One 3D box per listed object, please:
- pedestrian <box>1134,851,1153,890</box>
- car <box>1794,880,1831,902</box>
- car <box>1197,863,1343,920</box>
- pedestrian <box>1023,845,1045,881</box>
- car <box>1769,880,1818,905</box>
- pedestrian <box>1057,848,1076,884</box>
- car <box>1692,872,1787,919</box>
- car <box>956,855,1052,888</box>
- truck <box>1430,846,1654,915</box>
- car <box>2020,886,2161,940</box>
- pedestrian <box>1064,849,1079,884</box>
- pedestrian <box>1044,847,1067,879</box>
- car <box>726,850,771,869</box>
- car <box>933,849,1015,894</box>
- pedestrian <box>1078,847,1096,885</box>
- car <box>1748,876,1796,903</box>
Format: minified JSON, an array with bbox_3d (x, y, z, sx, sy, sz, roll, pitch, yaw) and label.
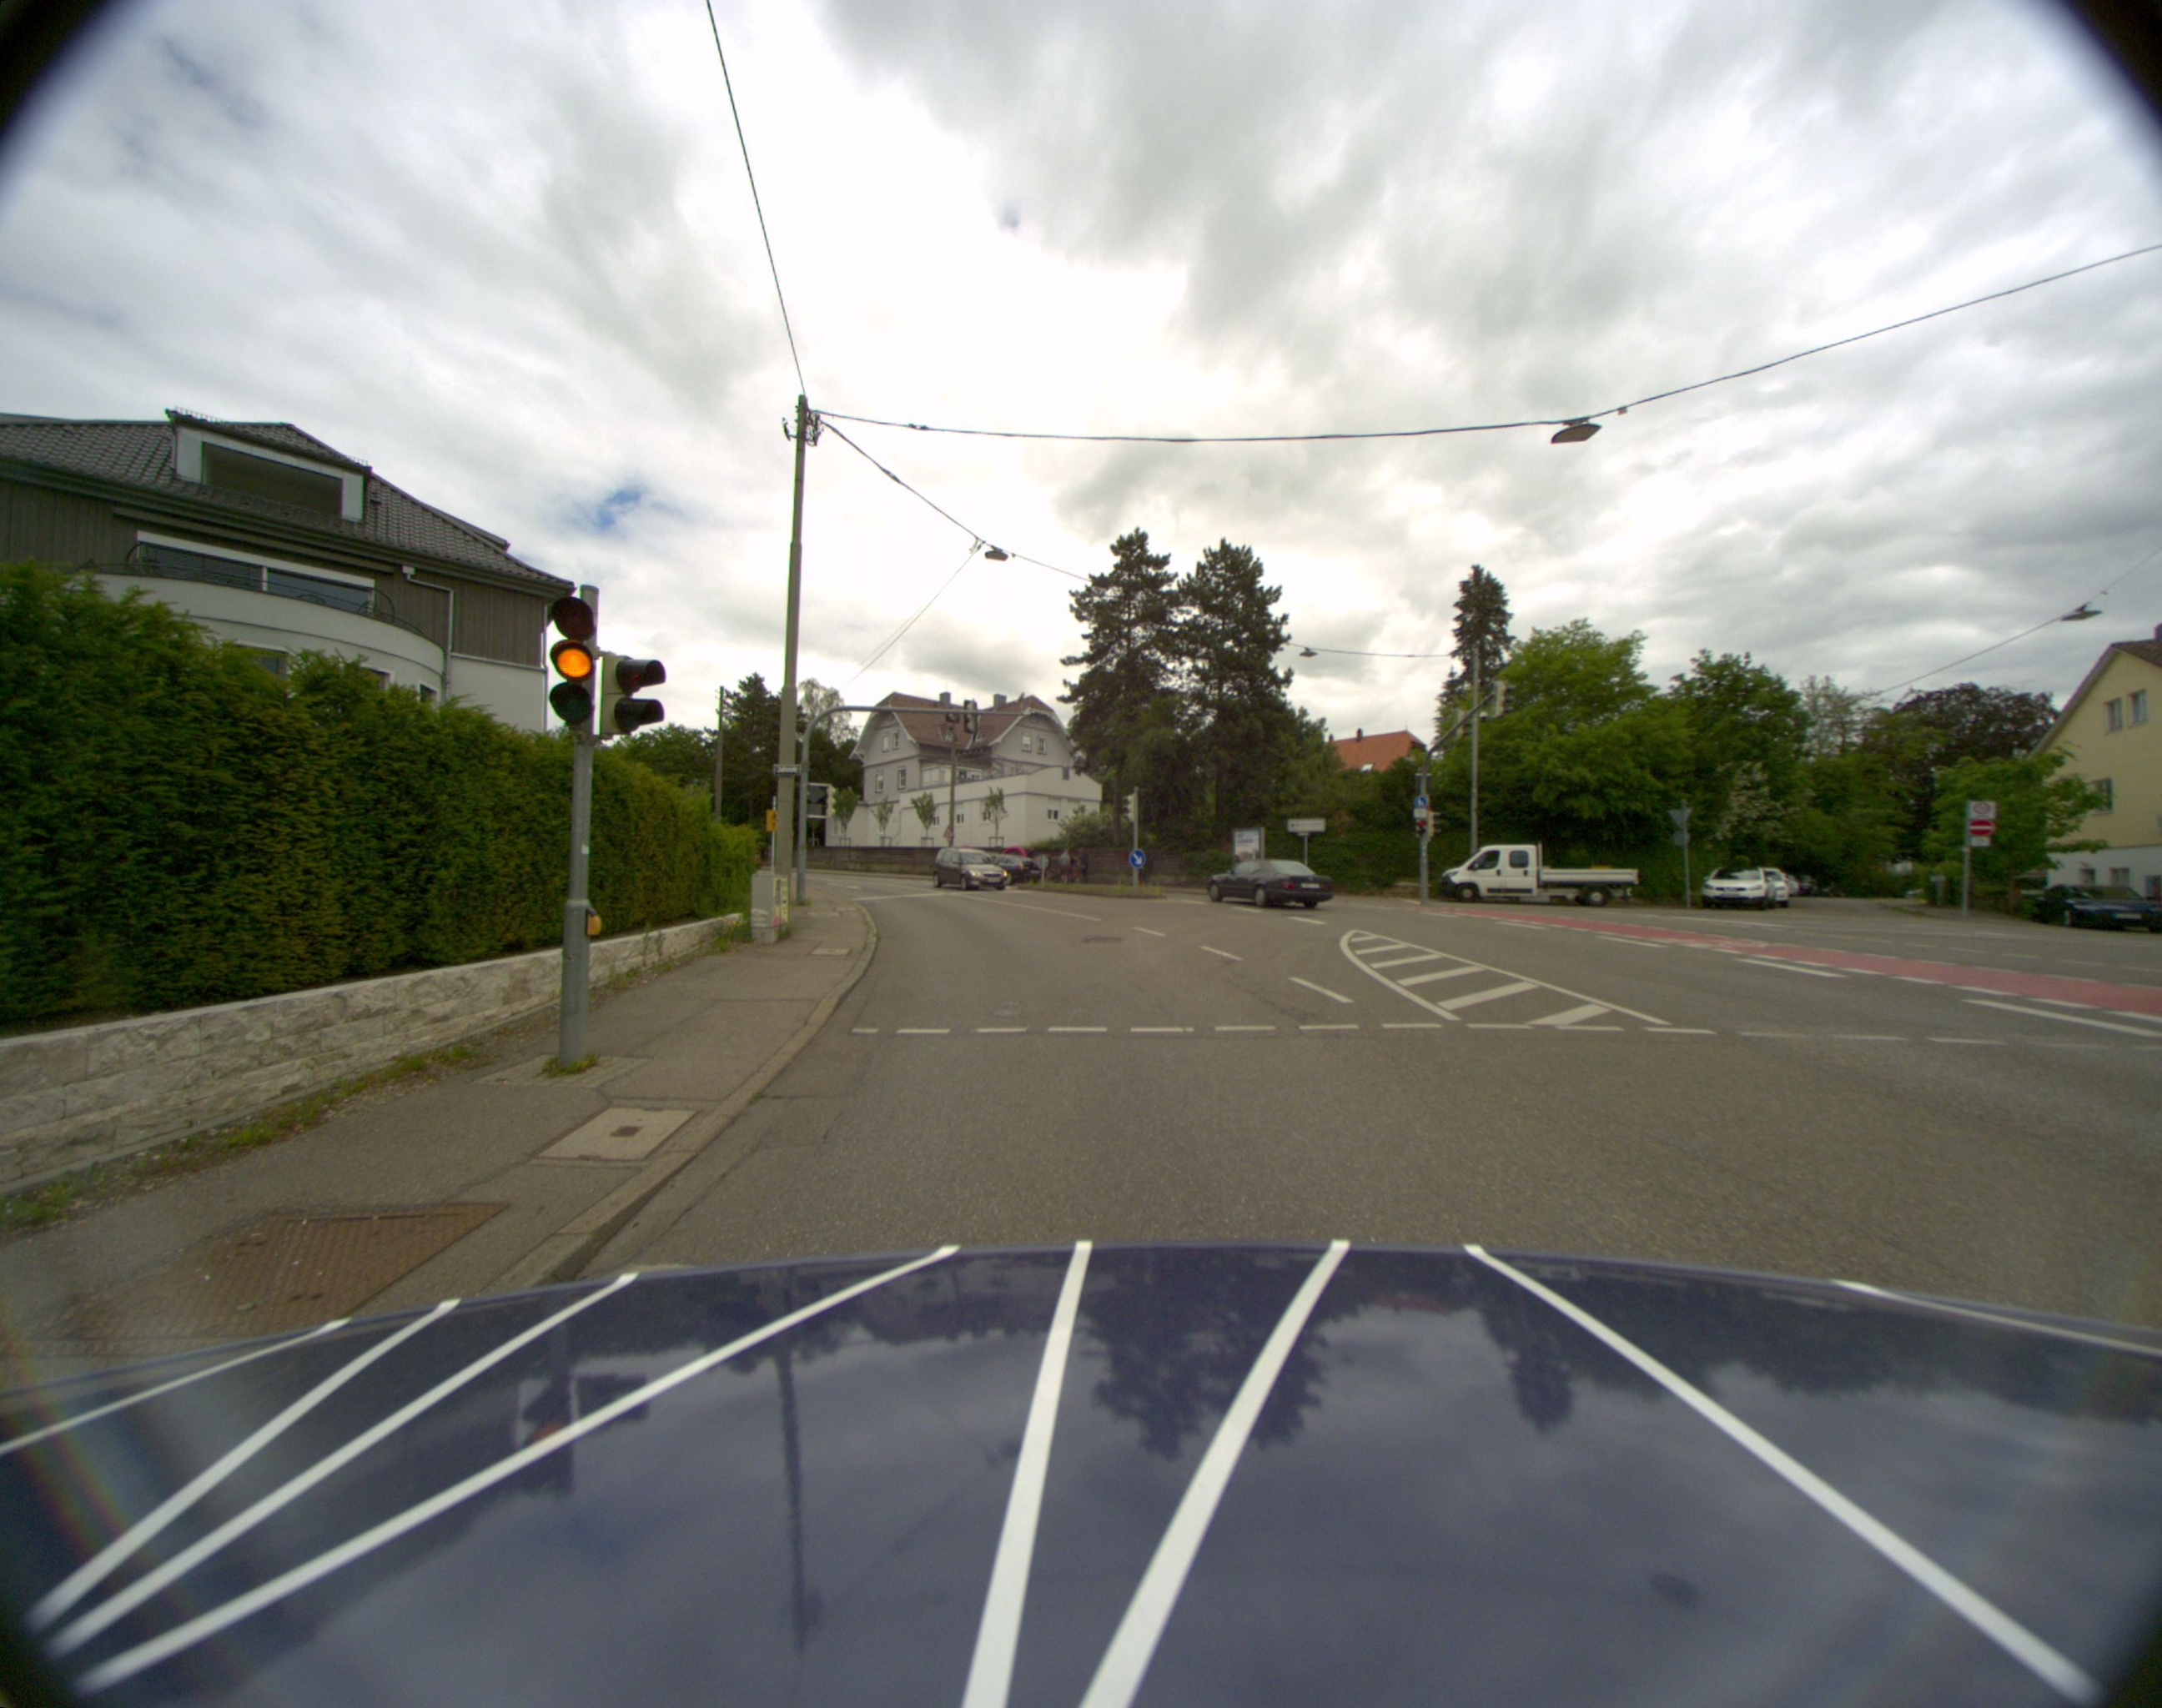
[{"bbox_3d":[2.997,0.779,36.468,0.611,1.824,0.680,2,0,39],"label":"pedestrian"},{"bbox_3d":[57.782,2.909,59.969,3.739,1.577,1.867,1,0,-43],"label":"car"},{"bbox_3d":[5.279,1.012,21.987,1.854,1.320,4.860,1,0,-17],"label":"car"},{"bbox_3d":[-2.444,0.467,39.377,0.686,1.803,0.882,2,1,41],"label":"pedestrian"},{"bbox_3d":[50.515,2.707,53.845,4.009,1.607,1.994,1,0,-40],"label":"car"},{"bbox_3d":[-0.718,0.614,38.047,0.664,1.777,0.614,2,0,41],"label":"pedestrian"},{"bbox_3d":[24.762,1.513,28.554,4.009,1.603,1.994,2,0,-39],"label":"car"},{"bbox_3d":[-3.739,0.767,35.996,2.004,1.414,5.043,1,0,-41],"label":"car"},{"bbox_3d":[16.530,0.883,27.859,6.700,2.176,2.534,2,1,23],"label":"truck"},{"bbox_3d":[32.617,1.847,24.617,1.875,1.440,4.009,2,0,38],"label":"car"},{"bbox_3d":[-0.464,0.635,39.097,0.503,1.802,0.511,2,0,41],"label":"pedestrian"},{"bbox_3d":[-1.315,0.454,39.557,0.749,1.643,0.882,2,0,41],"label":"pedestrian"},{"bbox_3d":[-25.555,0.408,58.316,1.813,1.348,3.988,4,-2,-45],"label":"car"},{"bbox_3d":[-4.177,0.601,29.050,1.621,1.571,3.991,0,1,-32],"label":"car"},{"bbox_3d":[0.283,0.598,37.980,0.611,1.824,0.605,2,0,39],"label":"pedestrian"},{"bbox_3d":[43.246,2.178,47.548,3.739,1.577,1.867,1,0,-43],"label":"car"}]
